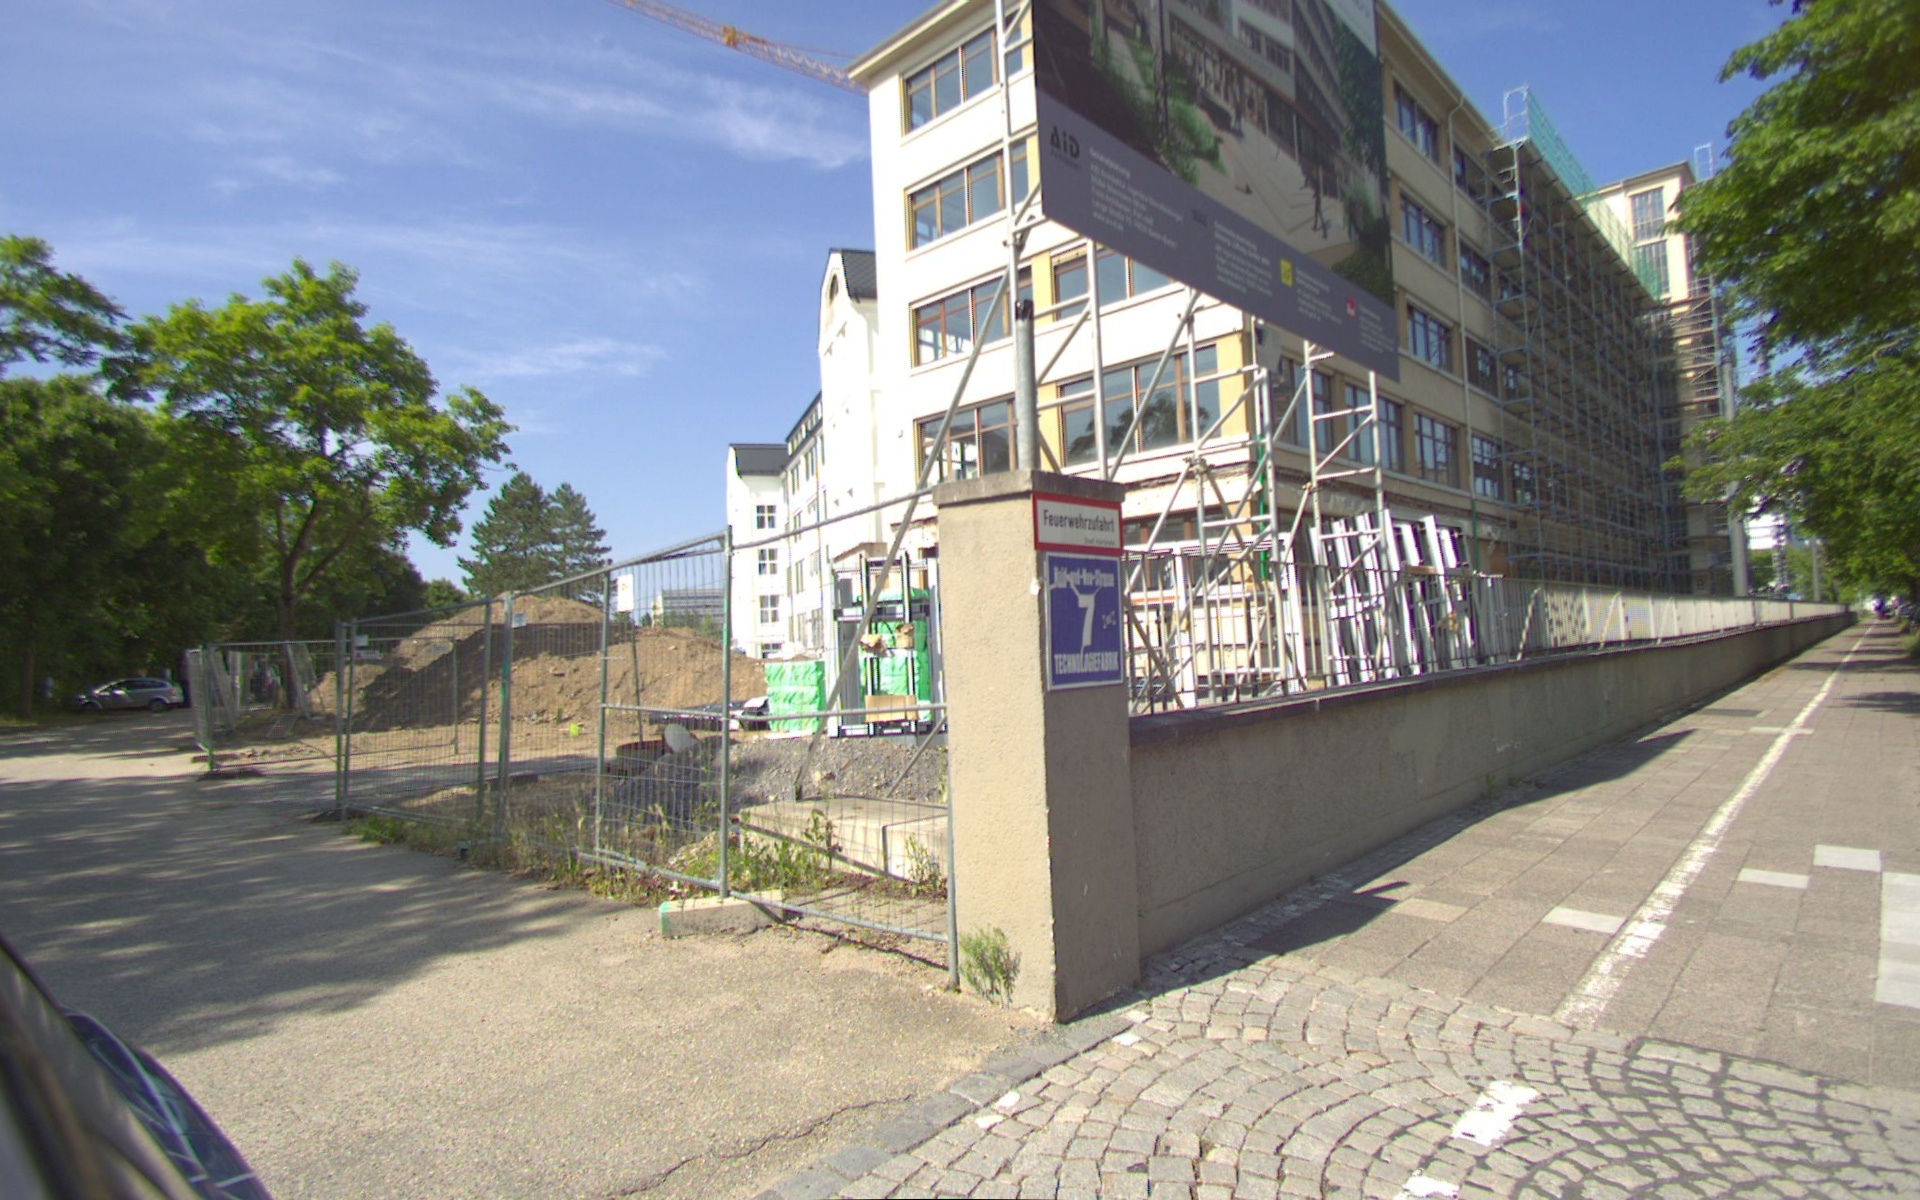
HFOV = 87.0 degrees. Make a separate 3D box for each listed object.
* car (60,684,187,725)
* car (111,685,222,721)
[{"bbox_3d":[-36.498,4.538,44.301,3.931,1.519,2.006,-1,-3,-26],"label":"car"},{"bbox_3d":[-38.554,4.987,49.279,3.931,1.453,2.006,-1,-3,-26],"label":"car"}]
